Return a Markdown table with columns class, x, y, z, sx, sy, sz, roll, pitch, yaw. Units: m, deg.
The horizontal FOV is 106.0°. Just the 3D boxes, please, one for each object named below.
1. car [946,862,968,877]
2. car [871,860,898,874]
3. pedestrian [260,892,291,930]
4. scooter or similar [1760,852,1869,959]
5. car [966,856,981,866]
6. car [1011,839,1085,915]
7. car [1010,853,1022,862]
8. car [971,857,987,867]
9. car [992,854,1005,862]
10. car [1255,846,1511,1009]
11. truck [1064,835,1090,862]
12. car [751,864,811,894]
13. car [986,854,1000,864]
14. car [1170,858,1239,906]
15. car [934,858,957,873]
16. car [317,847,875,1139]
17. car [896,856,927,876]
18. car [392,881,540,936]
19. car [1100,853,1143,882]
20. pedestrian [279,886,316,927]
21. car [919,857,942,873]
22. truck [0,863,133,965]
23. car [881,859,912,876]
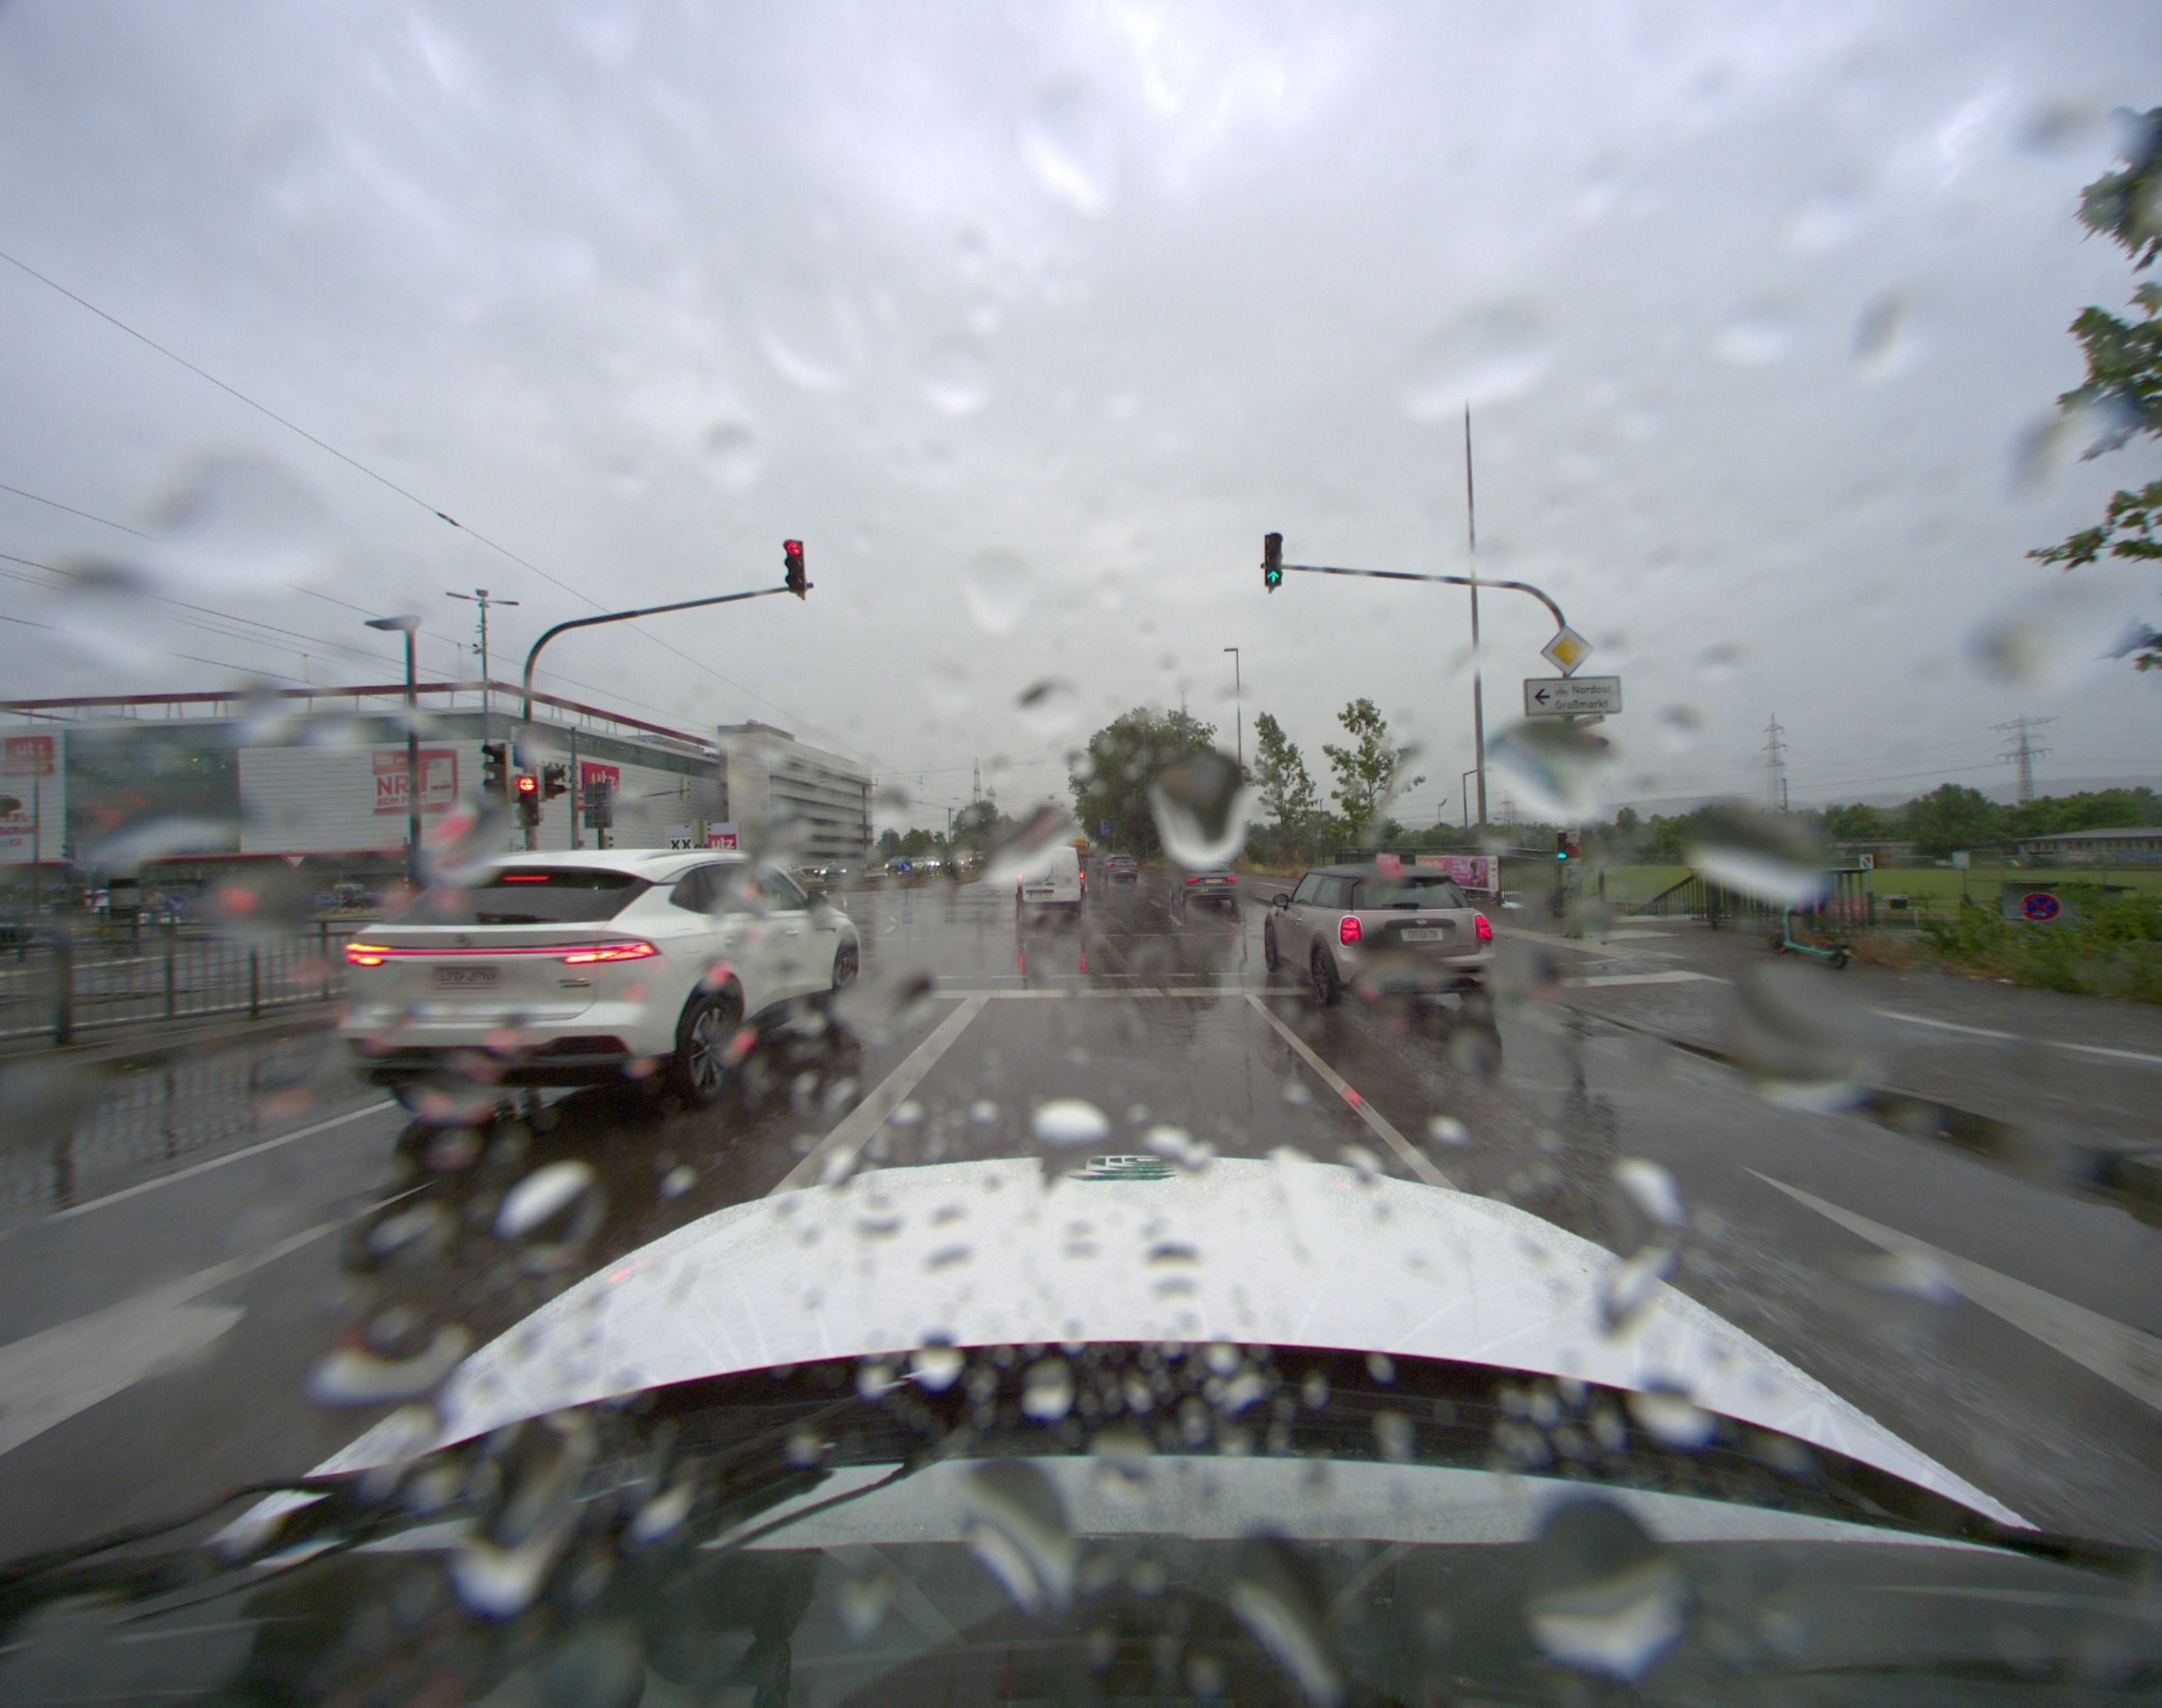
| class | x | y | z | sx | sy | sz | roll | pitch | yaw |
| --- | --- | --- | --- | --- | --- | --- | --- | --- | --- |
| car | -16.251 | 2.015 | 107.291 | 1.984 | 2.014 | 4.005 | 0 | -1 | 4 |
| car | -21.748 | 1.453 | 90.192 | 1.762 | 1.487 | 3.844 | 0 | -1 | 4 |
| pedestrian | -32.618 | 2.308 | 32.982 | 0.561 | 1.497 | 0.650 | 0 | -1 | 1 |
| scooter or similar | 8.467 | 0.569 | 9.449 | 0.244 | 1.158 | 1.187 | 0 | -1 | 4 |
| car | -17.796 | 1.183 | 134.996 | 1.710 | 1.704 | 3.482 | 0 | -1 | 4 |
| car | -0.775 | 0.576 | 21.395 | 1.560 | 1.788 | 4.003 | -1 | -1 | 3 |
| car | -13.763 | 0.766 | 172.802 | 1.984 | 1.757 | 4.005 | 0 | -1 | 4 |
| car | -17.769 | 1.384 | 142.232 | 1.984 | 1.663 | 4.005 | 0 | -1 | 4 |
| car | -16.625 | 0.903 | 164.768 | 1.984 | 1.587 | 4.005 | 0 | -1 | 4 |
| car | 3.204 | 0.698 | 9.415 | 1.707 | 1.508 | 3.625 | 0 | 0 | 2 |
| truck | -0.485 | -0.513 | 89.144 | 2.626 | 2.816 | 7.139 | -1 | -1 | -2 |
| car | -19.123 | 1.580 | 52.114 | 1.919 | 1.827 | 4.008 | -1 | -1 | 7 |
| car | -17.016 | 0.974 | 157.034 | 1.984 | 1.708 | 4.005 | 0 | -1 | 4 |
| car | 3.610 | 0.796 | 24.405 | 1.623 | 1.344 | 3.625 | 0 | -1 | 2 |
| car | -16.350 | 1.380 | 98.320 | 1.815 | 1.807 | 3.773 | 0 | -1 | 4 |
| car | -3.108 | 0.729 | 6.446 | 1.722 | 1.535 | 4.299 | 0 | 0 | 2 |
| car | -17.380 | 1.265 | 83.874 | 1.983 | 2.014 | 4.007 | -1 | -1 | 6 |
| car | -21.499 | 1.862 | 28.701 | 1.882 | 1.699 | 4.007 | -1 | -1 | 7 |
| car | 2.123 | 0.692 | 43.666 | 1.856 | 1.428 | 3.801 | 0 | 0 | -4 |
| pedestrian | -30.507 | 2.035 | 31.725 | 0.561 | 1.537 | 0.873 | 0 | -1 | 2 |
| car | -19.393 | 1.442 | 105.258 | 1.984 | 2.014 | 4.005 | 0 | -1 | 4 |
| truck | -25.517 | 1.338 | 16.874 | 2.340 | 2.279 | 7.644 | 0 | -1 | 5 |
| car | -17.407 | 1.262 | 76.969 | 1.755 | 1.550 | 3.684 | 0 | -1 | 4 |
